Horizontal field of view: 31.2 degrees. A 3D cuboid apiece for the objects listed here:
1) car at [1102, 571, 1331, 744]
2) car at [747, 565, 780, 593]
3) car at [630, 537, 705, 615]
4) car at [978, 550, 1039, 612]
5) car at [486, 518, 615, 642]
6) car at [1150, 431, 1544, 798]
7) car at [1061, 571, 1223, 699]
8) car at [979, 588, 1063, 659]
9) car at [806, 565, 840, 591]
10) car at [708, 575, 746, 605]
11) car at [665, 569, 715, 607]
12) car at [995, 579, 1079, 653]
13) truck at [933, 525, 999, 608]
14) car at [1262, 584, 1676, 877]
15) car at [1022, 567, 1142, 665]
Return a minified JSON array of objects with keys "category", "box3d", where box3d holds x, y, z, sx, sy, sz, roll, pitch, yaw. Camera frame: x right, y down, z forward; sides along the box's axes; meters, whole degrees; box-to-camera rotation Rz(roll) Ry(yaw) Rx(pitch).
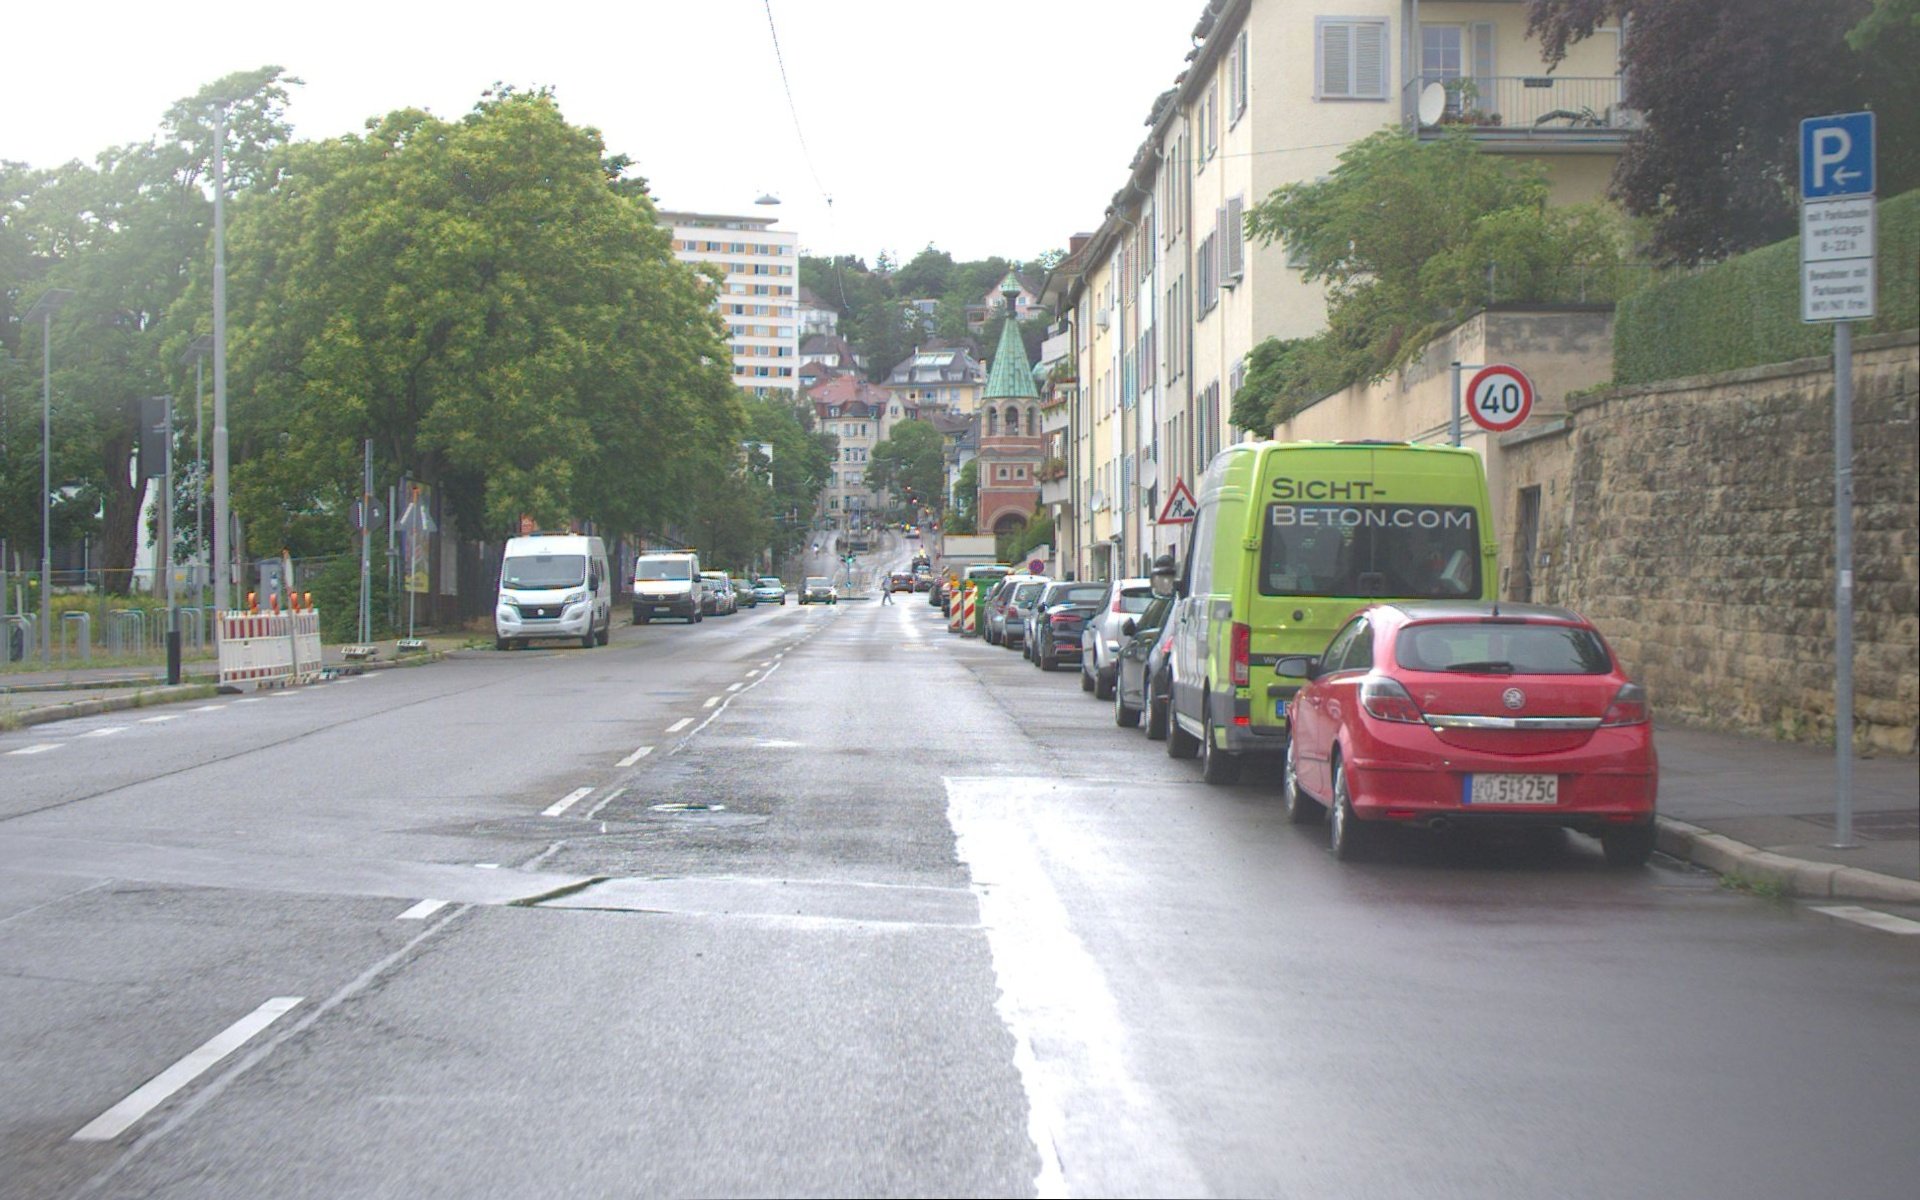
[{"category":"car","box3d":[2.362,0.493,32.562,1.688,1.449,4.236,2,1,-2]},{"category":"car","box3d":[-10.624,-1.131,186.199,1.709,1.445,4.294,-1,0,-2]},{"category":"car","box3d":[-9.721,-0.821,114.737,2.012,2.478,5.983,-1,1,0]},{"category":"car","box3d":[1.508,-0.616,108.662,1.817,1.917,4.239,-1,1,0]},{"category":"car","box3d":[-8.970,-0.465,75.835,2.230,2.570,6.538,-1,1,-2]},{"category":"car","box3d":[2.821,0.048,26.587,2.205,2.455,6.080,2,1,-1]},{"category":"car","box3d":[2.290,0.489,44.107,1.688,1.449,4.235,2,-3,-2]},{"category":"car","box3d":[1.385,0.522,79.309,1.716,1.519,4.000,2,1,-2]},{"category":"car","box3d":[-7.505,-1.194,187.759,1.805,1.411,4.384,0,0,-3]},{"category":"car","box3d":[-11.555,-0.508,170.750,1.803,1.445,4.658,-1,0,-3]},{"category":"car","box3d":[-10.201,-0.462,130.163,1.682,1.394,3.911,-1,0,-2]},{"category":"car","box3d":[1.634,0.325,73.918,1.558,1.449,3.760,2,1,-2]},{"category":"truck","box3d":[0.192,-1.297,134.858,2.469,3.161,7.036,0,0,-1]},{"category":"car","box3d":[2.810,0.664,19.835,1.721,1.416,4.203,2,1,0]},{"category":"car","box3d":[1.910,0.229,54.769,1.629,1.449,3.760,2,1,-2]}]
